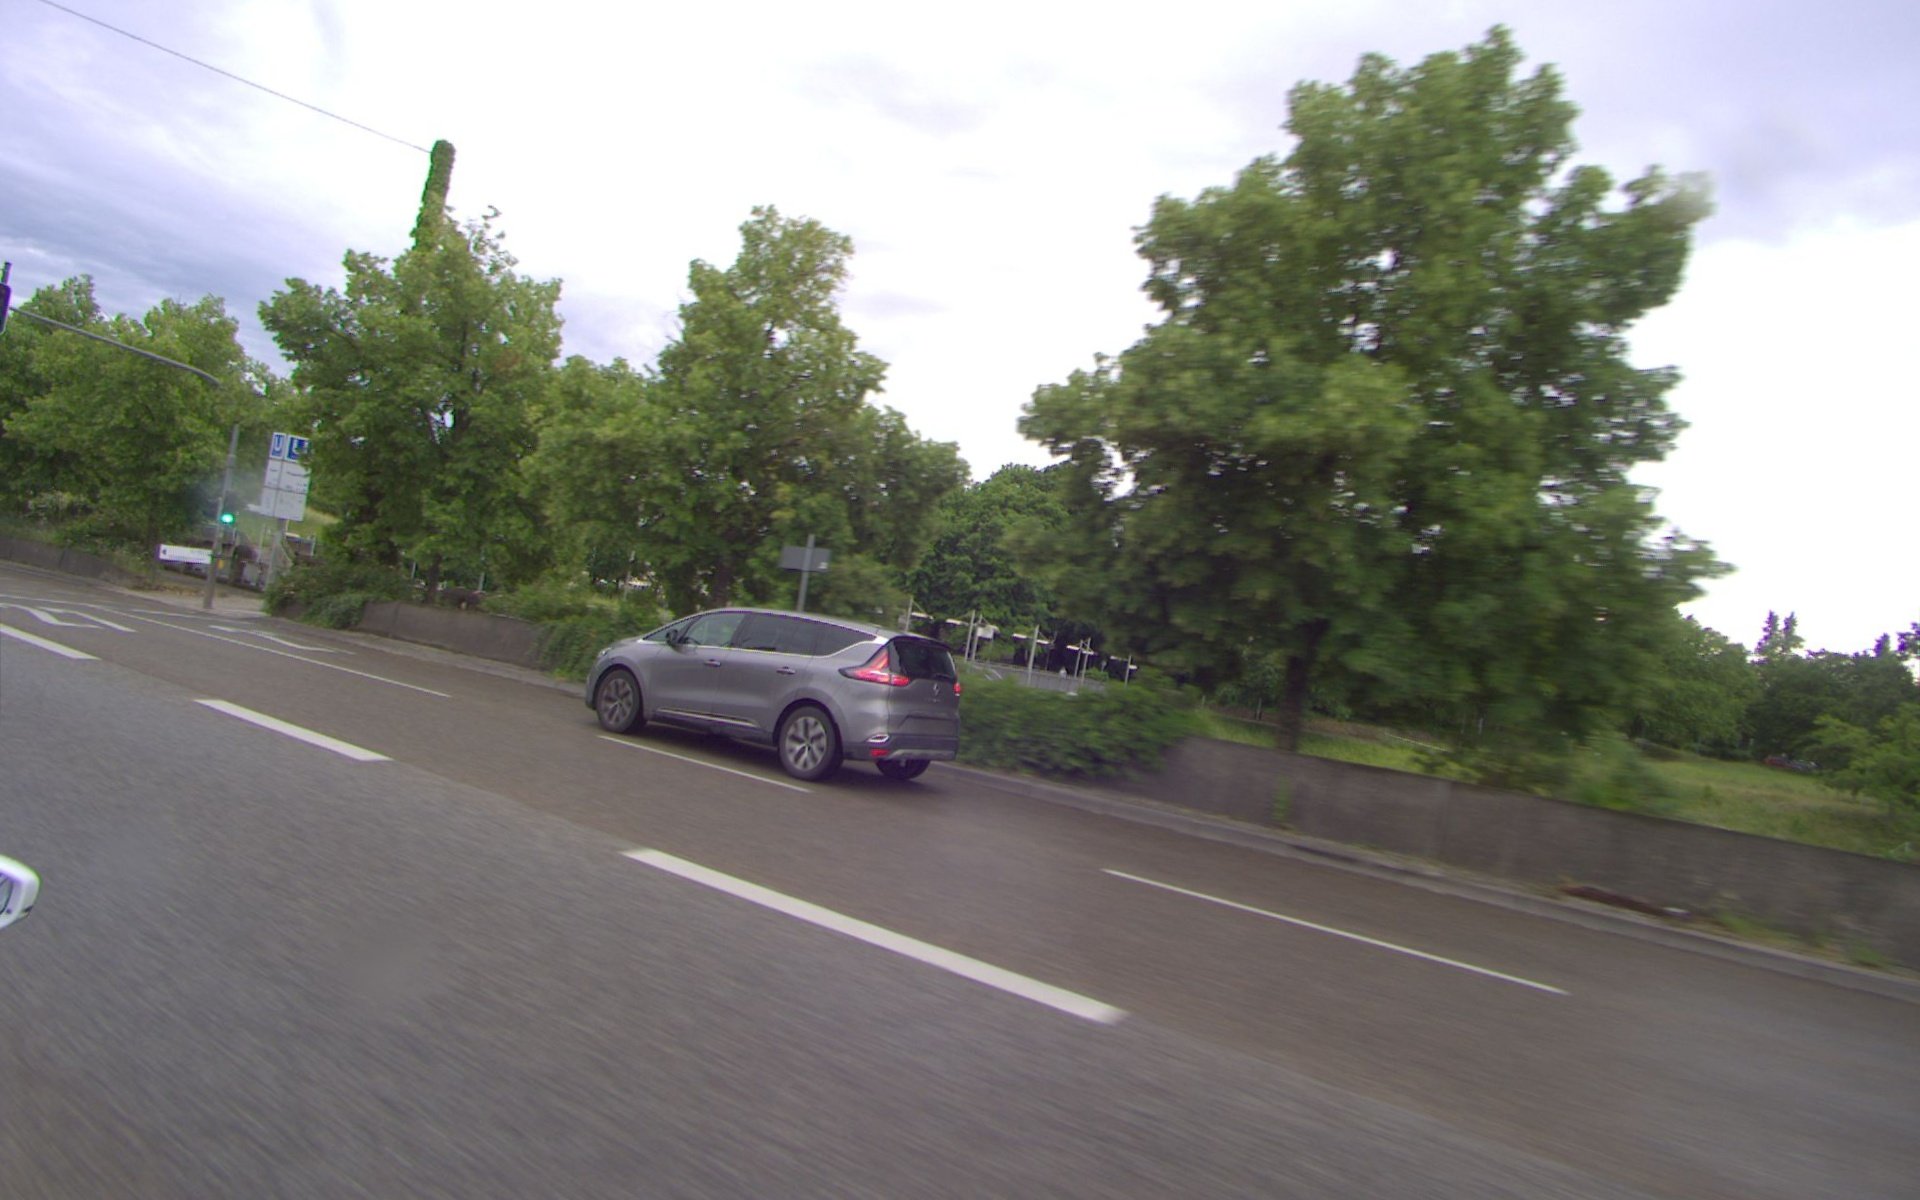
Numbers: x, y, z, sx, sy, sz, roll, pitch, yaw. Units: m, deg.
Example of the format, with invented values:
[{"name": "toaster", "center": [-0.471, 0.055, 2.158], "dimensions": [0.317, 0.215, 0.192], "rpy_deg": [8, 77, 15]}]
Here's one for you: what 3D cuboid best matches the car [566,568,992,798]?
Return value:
[{"name": "car", "center": [-2.133, 0.858, 11.362], "dimensions": [4.548, 1.666, 1.731], "rpy_deg": [9, -3, 32]}]
